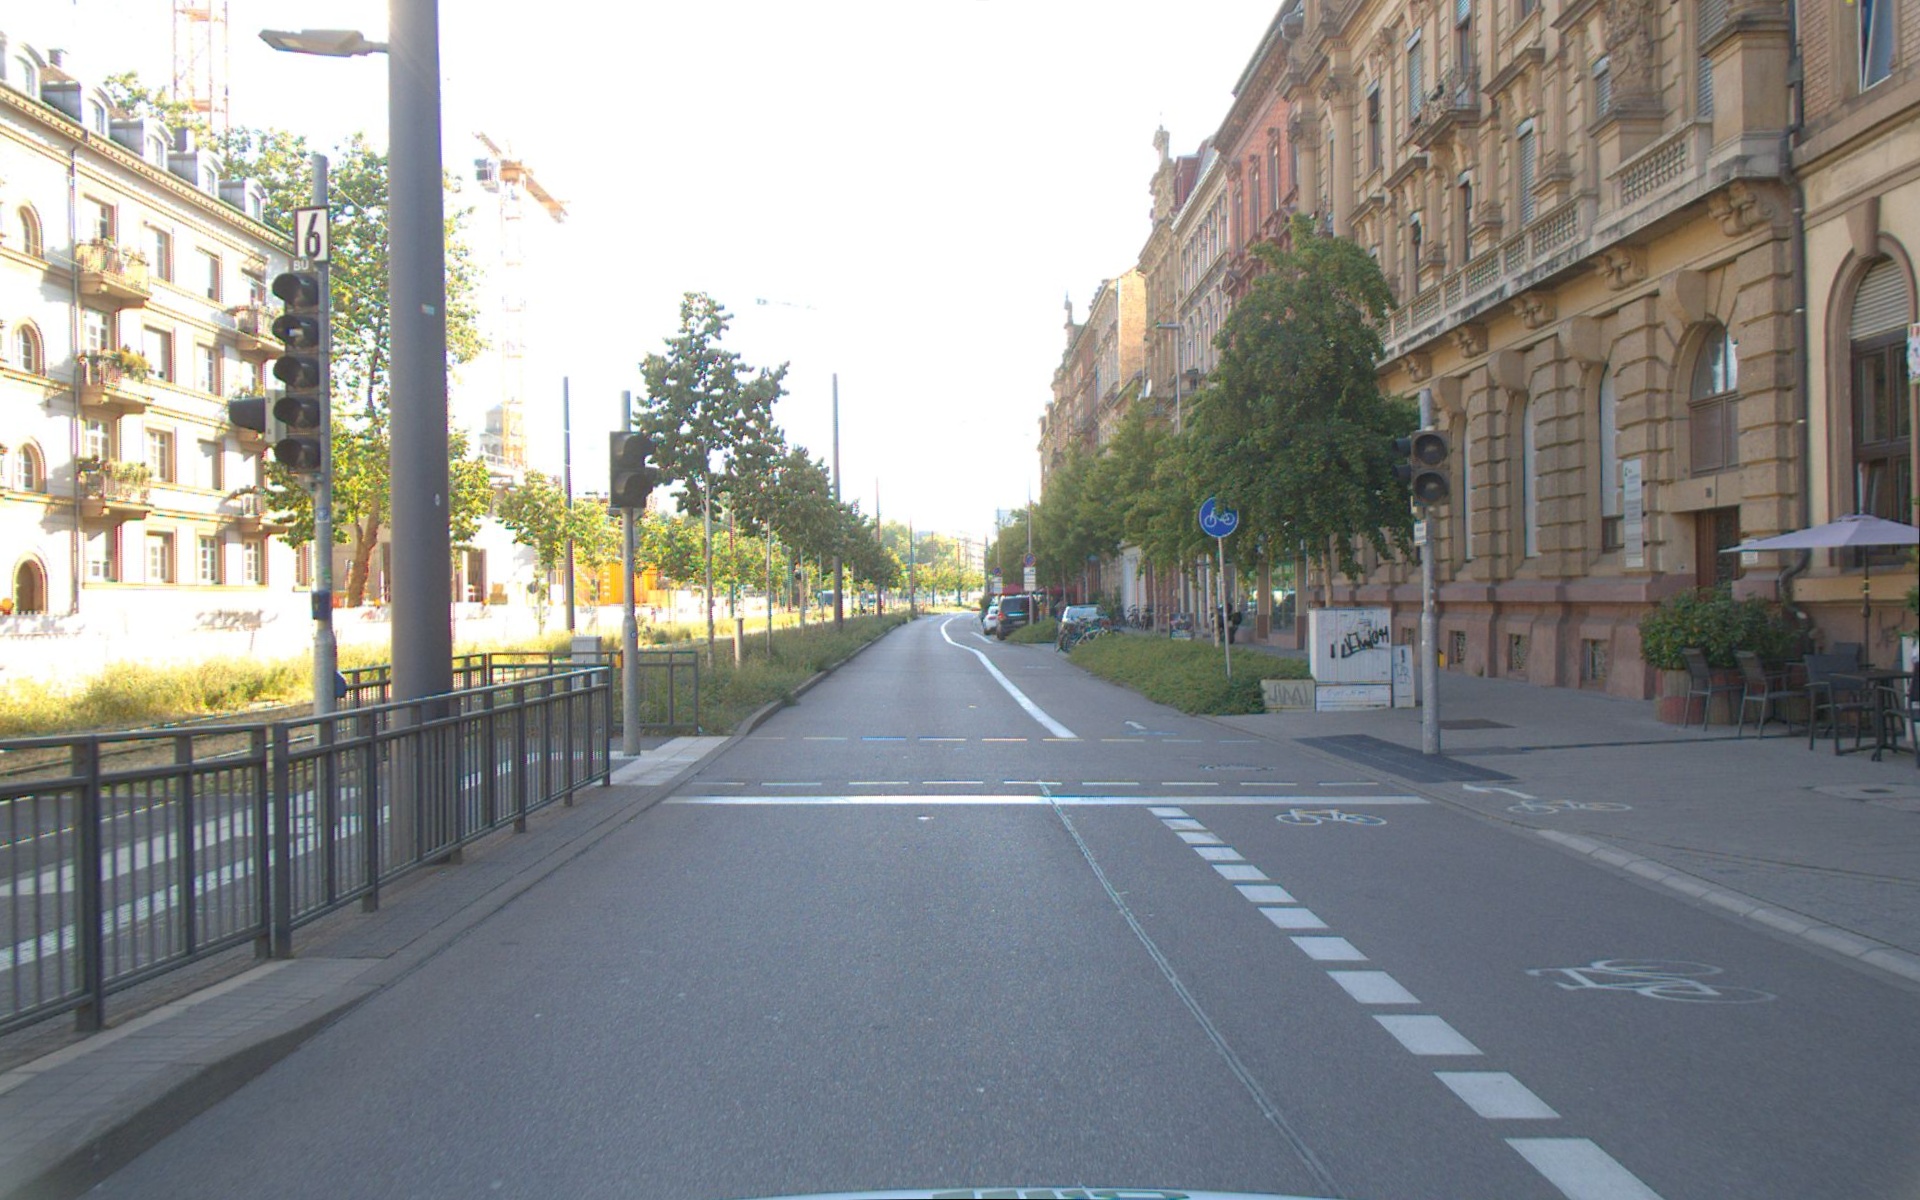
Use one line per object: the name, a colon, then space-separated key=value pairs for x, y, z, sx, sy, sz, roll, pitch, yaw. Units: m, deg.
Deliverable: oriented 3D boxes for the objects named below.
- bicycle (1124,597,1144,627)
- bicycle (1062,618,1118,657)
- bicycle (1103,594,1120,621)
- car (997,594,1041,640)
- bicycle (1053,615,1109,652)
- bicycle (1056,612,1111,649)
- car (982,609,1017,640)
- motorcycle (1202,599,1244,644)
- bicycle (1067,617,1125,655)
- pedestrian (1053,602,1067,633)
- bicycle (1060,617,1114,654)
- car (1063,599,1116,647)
bicycle: x=8.636 y=0.568 z=82.214 sx=0.647 sy=1.427 sz=2.351 roll=-1 pitch=1 yaw=-2
bicycle: x=3.870 y=1.113 z=49.197 sx=1.547 sy=1.066 sz=0.488 roll=-3 pitch=0 yaw=-9
bicycle: x=8.584 y=0.412 z=93.591 sx=0.647 sy=1.427 sz=2.351 roll=-1 pitch=1 yaw=-2
car: x=2.686 y=0.751 z=75.592 sx=1.846 sy=1.971 sz=4.473 roll=-1 pitch=1 yaw=0
bicycle: x=3.818 y=1.053 z=52.153 sx=1.657 sy=1.066 sz=0.489 roll=-4 pitch=0 yaw=-1
bicycle: x=4.001 y=0.979 z=53.631 sx=1.657 sy=1.066 sz=0.489 roll=-4 pitch=0 yaw=-1
car: x=2.113 y=1.302 z=88.993 sx=1.811 sy=1.483 sz=4.156 roll=-1 pitch=1 yaw=0
motorcycle: x=8.580 y=0.680 z=54.058 sx=0.779 sy=1.331 sz=2.851 roll=-3 pitch=1 yaw=-1
bicycle: x=4.159 y=1.088 z=50.494 sx=1.660 sy=1.066 sz=0.488 roll=-3 pitch=0 yaw=-9
pedestrian: x=4.797 y=0.827 z=79.489 sx=0.612 sy=1.485 sz=0.638 roll=-1 pitch=0 yaw=-1
bicycle: x=3.918 y=1.086 z=51.026 sx=1.547 sy=1.066 sz=0.488 roll=-3 pitch=0 yaw=-9
car: x=4.594 y=0.801 z=59.157 sx=1.603 sy=1.512 sz=4.212 roll=-3 pitch=1 yaw=1
